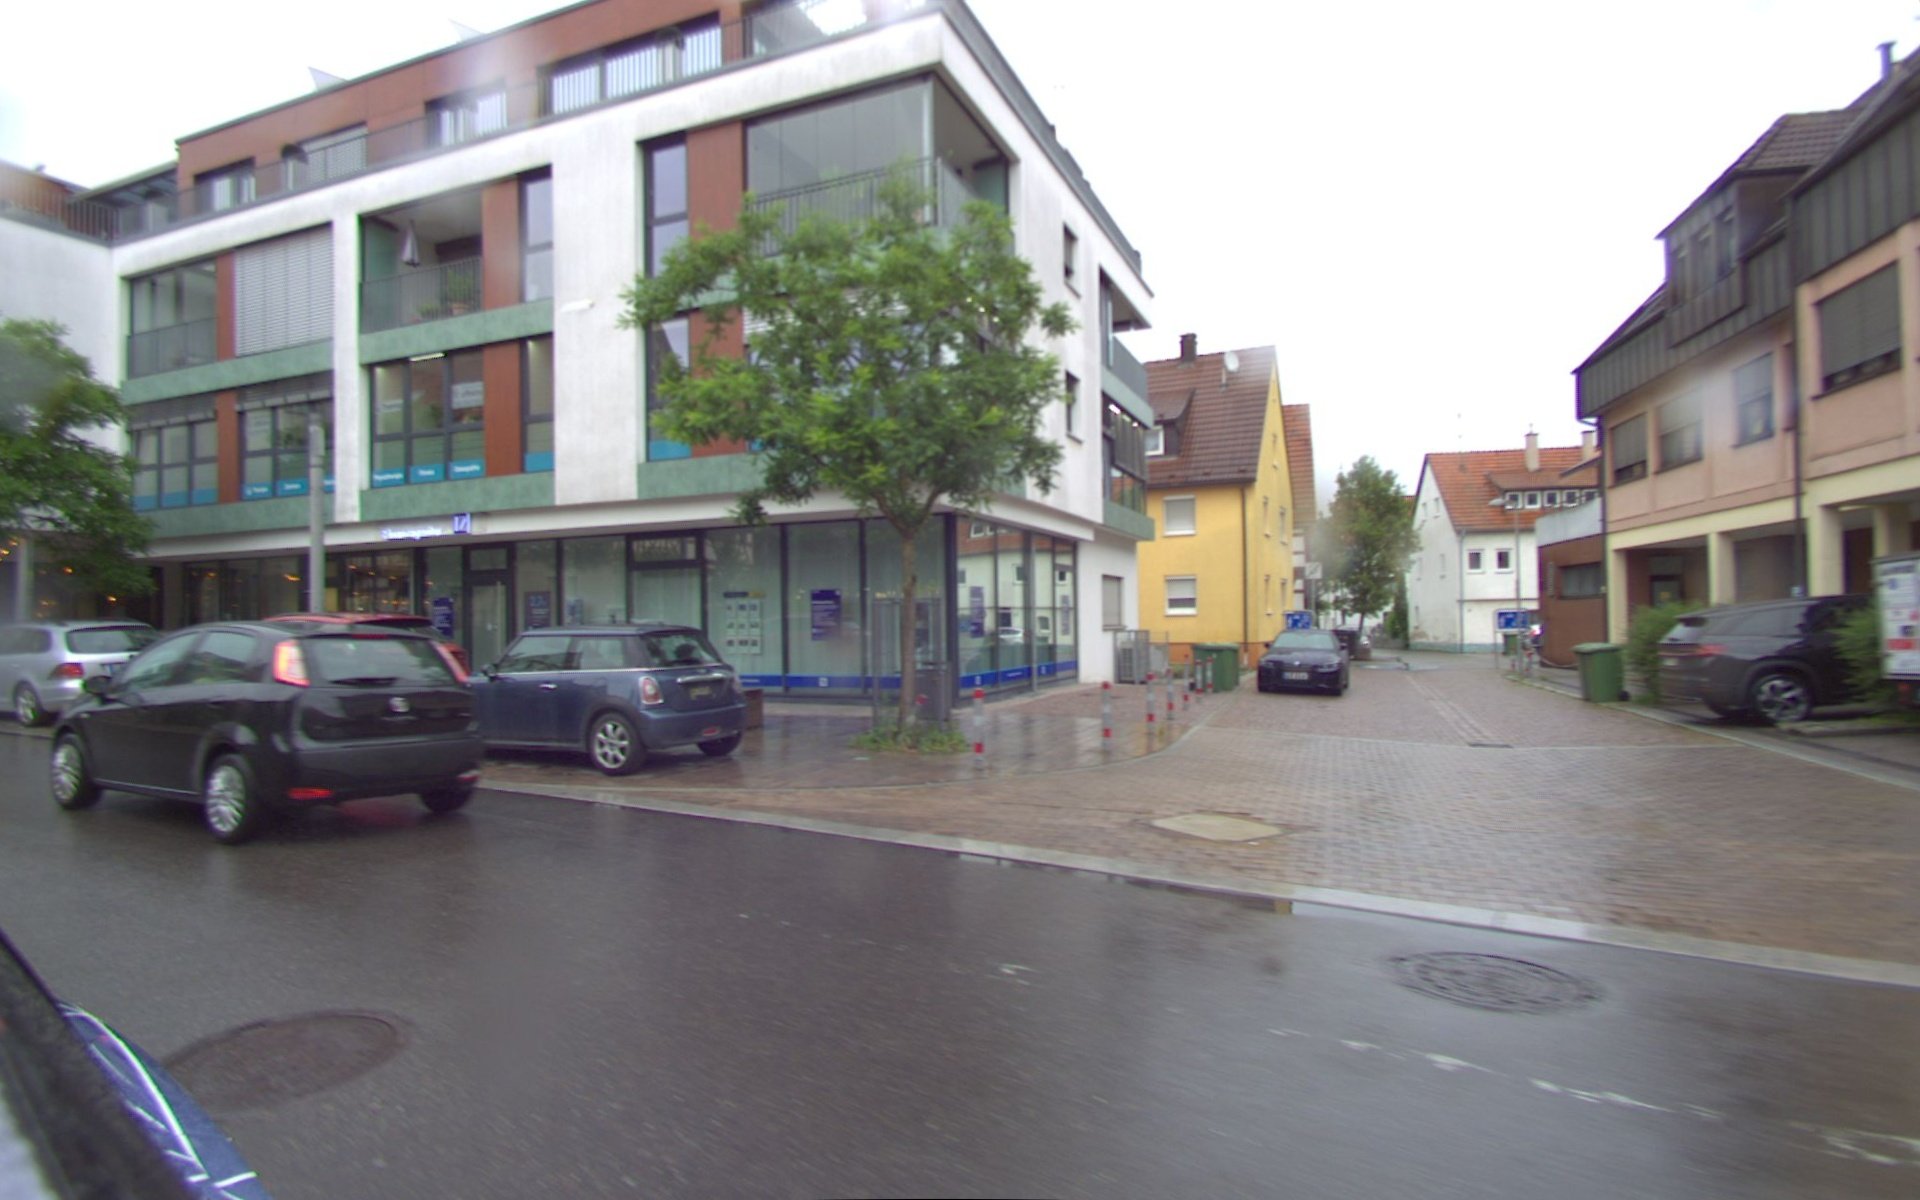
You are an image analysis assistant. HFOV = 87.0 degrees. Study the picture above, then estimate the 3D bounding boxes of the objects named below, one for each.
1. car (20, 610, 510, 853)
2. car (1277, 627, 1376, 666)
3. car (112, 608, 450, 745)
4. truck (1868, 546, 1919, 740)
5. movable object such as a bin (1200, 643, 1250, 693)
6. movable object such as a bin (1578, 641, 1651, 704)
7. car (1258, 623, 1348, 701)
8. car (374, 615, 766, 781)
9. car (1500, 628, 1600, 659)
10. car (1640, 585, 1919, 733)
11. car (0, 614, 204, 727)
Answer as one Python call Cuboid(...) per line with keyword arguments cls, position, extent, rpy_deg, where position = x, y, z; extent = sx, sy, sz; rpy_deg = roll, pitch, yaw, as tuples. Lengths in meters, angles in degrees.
Cuboid(cls="car", position=(-5.454, 0.857, 7.828), extent=(3.970, 1.457, 1.636), rpy_deg=(-1, -3, 32))
Cuboid(cls="car", position=(16.062, 2.013, 44.564), extent=(3.965, 1.630, 1.808), rpy_deg=(0, -1, 17))
Cuboid(cls="car", position=(-8.942, 0.916, 13.334), extent=(4.081, 1.588, 1.778), rpy_deg=(0, -2, 24))
Cuboid(cls="truck", position=(11.759, 0.331, 10.297), extent=(3.164, 2.079, 1.593), rpy_deg=(-5, -4, 16))
Cuboid(cls="movable object such as a bin", position=(6.026, 1.550, 22.974), extent=(0.919, 1.105, 0.994), rpy_deg=(-3, -4, 25))
Cuboid(cls="movable object such as a bin", position=(12.243, 1.355, 18.979), extent=(0.919, 1.105, 0.994), rpy_deg=(-5, -5, 25))
Cuboid(cls="car", position=(7.973, 1.366, 23.565), extent=(1.804, 1.630, 3.974), rpy_deg=(0, -1, 19))
Cuboid(cls="car", position=(-4.141, 0.912, 10.687), extent=(3.889, 1.469, 1.705), rpy_deg=(-1, 0, 26))
Cuboid(cls="car", position=(27.039, 1.978, 46.518), extent=(3.763, 1.386, 1.789), rpy_deg=(-1, -2, 24))
Cuboid(cls="car", position=(11.885, 0.743, 13.681), extent=(3.971, 1.630, 1.806), rpy_deg=(-7, -4, 21))
Cuboid(cls="car", position=(-13.706, 0.976, 15.239), extent=(4.427, 1.510, 1.778), rpy_deg=(0, -2, 24))
